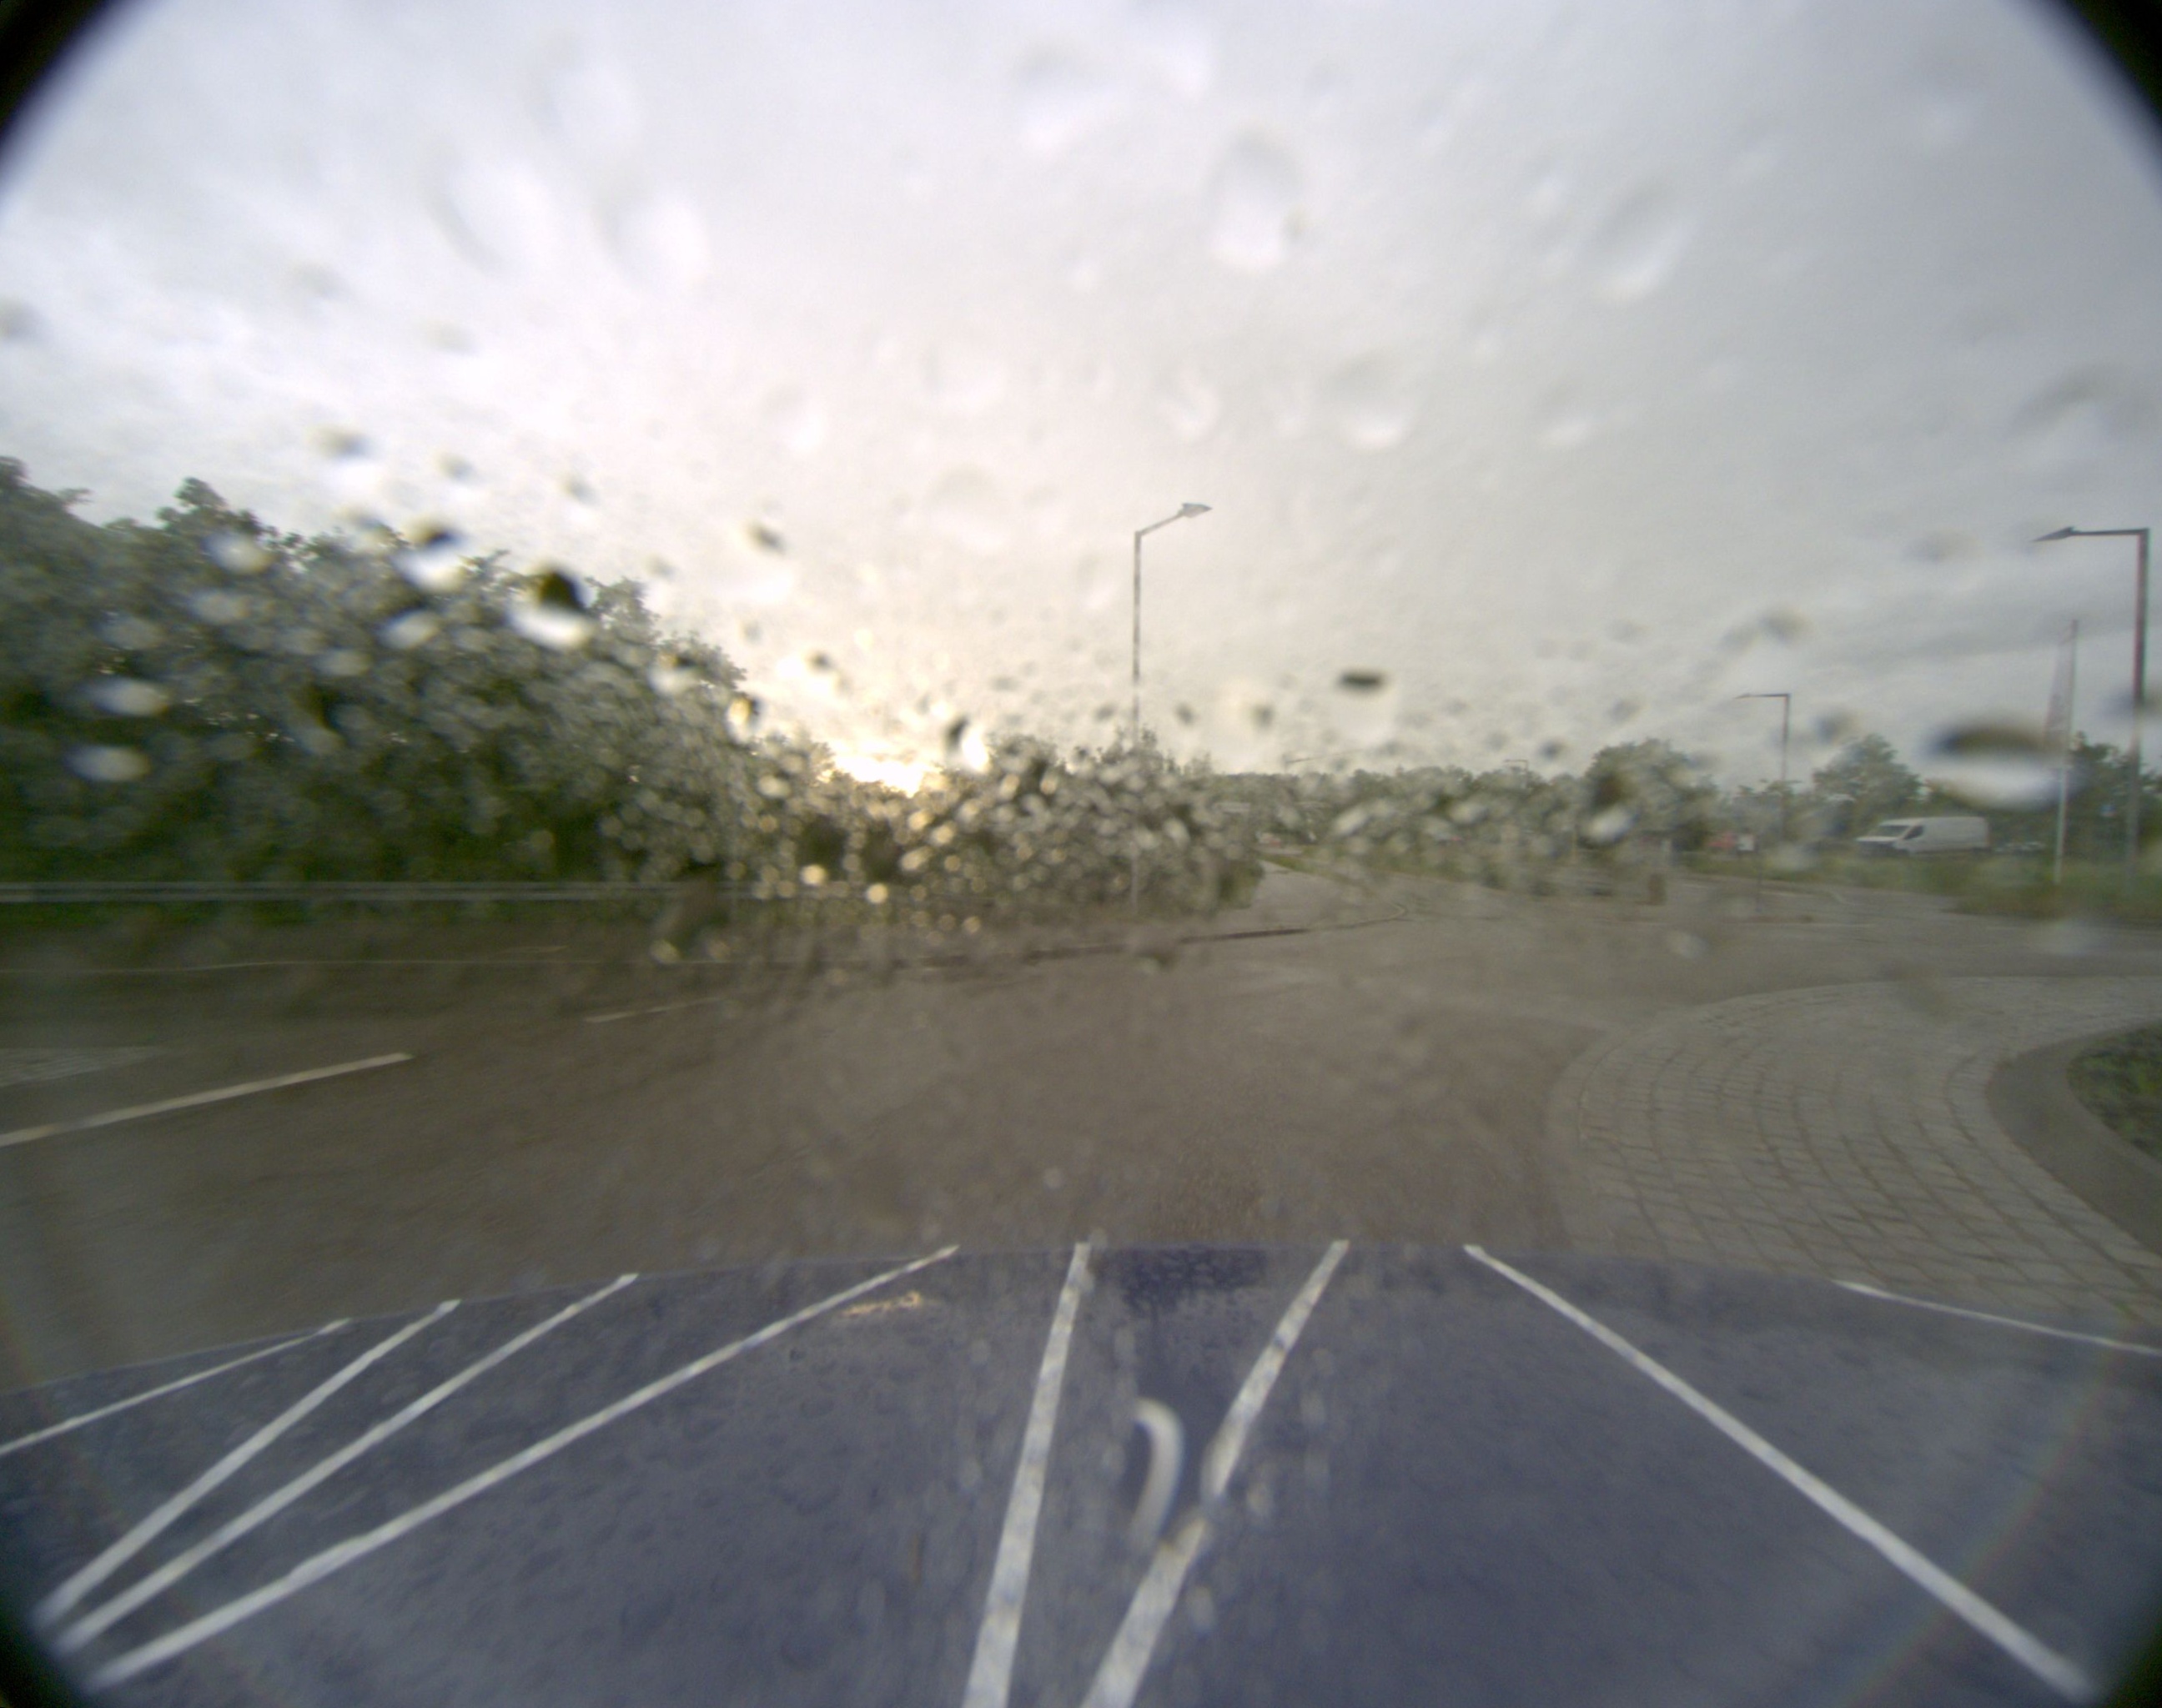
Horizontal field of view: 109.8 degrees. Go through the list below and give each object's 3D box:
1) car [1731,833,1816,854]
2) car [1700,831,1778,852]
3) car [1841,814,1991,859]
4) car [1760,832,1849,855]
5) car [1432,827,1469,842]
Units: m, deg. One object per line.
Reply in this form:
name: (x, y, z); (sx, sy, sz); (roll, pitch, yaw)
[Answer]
car: (46.726, -0.705, 51.314); (3.996, 1.356, 1.847); (0, 2, 2)
car: (47.256, -0.900, 54.639); (3.997, 1.461, 1.847); (0, 2, 0)
car: (47.883, -1.057, 43.655); (6.574, 2.385, 2.137); (-1, 3, -4)
car: (46.744, -0.672, 49.158); (3.996, 1.357, 1.651); (0, 5, 1)
car: (40.409, -2.127, 83.258); (1.696, 1.559, 4.540); (-3, 1, -1)
